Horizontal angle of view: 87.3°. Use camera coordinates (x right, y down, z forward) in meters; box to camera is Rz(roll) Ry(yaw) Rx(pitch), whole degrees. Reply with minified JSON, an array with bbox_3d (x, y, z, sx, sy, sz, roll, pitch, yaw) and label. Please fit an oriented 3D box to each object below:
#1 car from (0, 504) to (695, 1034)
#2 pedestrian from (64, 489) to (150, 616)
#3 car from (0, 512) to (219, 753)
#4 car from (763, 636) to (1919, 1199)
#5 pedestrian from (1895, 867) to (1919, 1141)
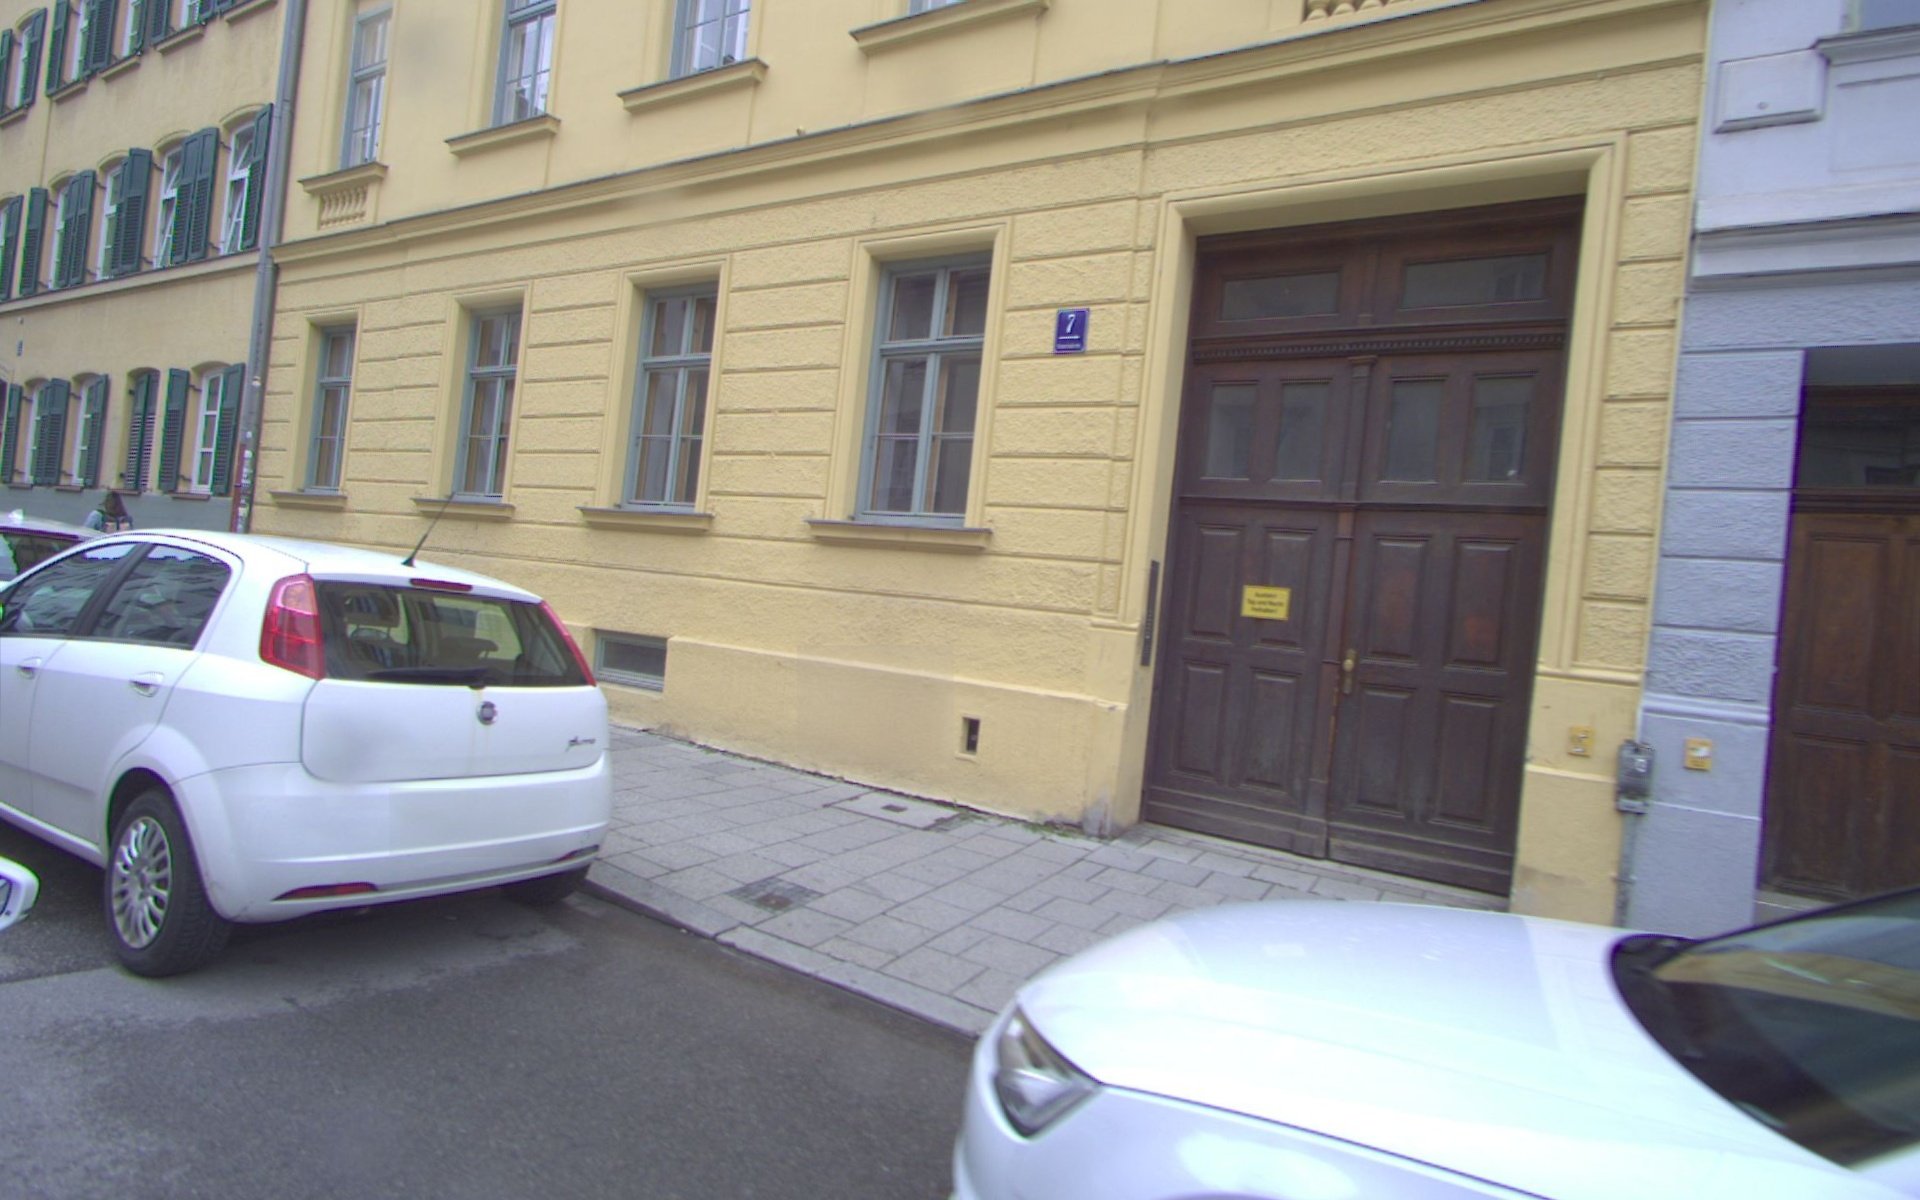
[{"bbox_3d":[-3.404,0.427,4.690,4.027,1.471,1.711,6,-1,29],"label":"car"},{"bbox_3d":[-11.217,-0.614,13.235,0.631,1.592,0.660,5,2,31],"label":"pedestrian"},{"bbox_3d":[-7.293,0.025,7.079,4.135,1.409,1.711,6,-1,29],"label":"car"},{"bbox_3d":[2.116,1.053,1.299,4.735,1.425,1.711,6,-1,32],"label":"car"},{"bbox_3d":[3.694,0.907,3.263,0.697,2.007,0.669,5,3,32],"label":"pedestrian"}]
